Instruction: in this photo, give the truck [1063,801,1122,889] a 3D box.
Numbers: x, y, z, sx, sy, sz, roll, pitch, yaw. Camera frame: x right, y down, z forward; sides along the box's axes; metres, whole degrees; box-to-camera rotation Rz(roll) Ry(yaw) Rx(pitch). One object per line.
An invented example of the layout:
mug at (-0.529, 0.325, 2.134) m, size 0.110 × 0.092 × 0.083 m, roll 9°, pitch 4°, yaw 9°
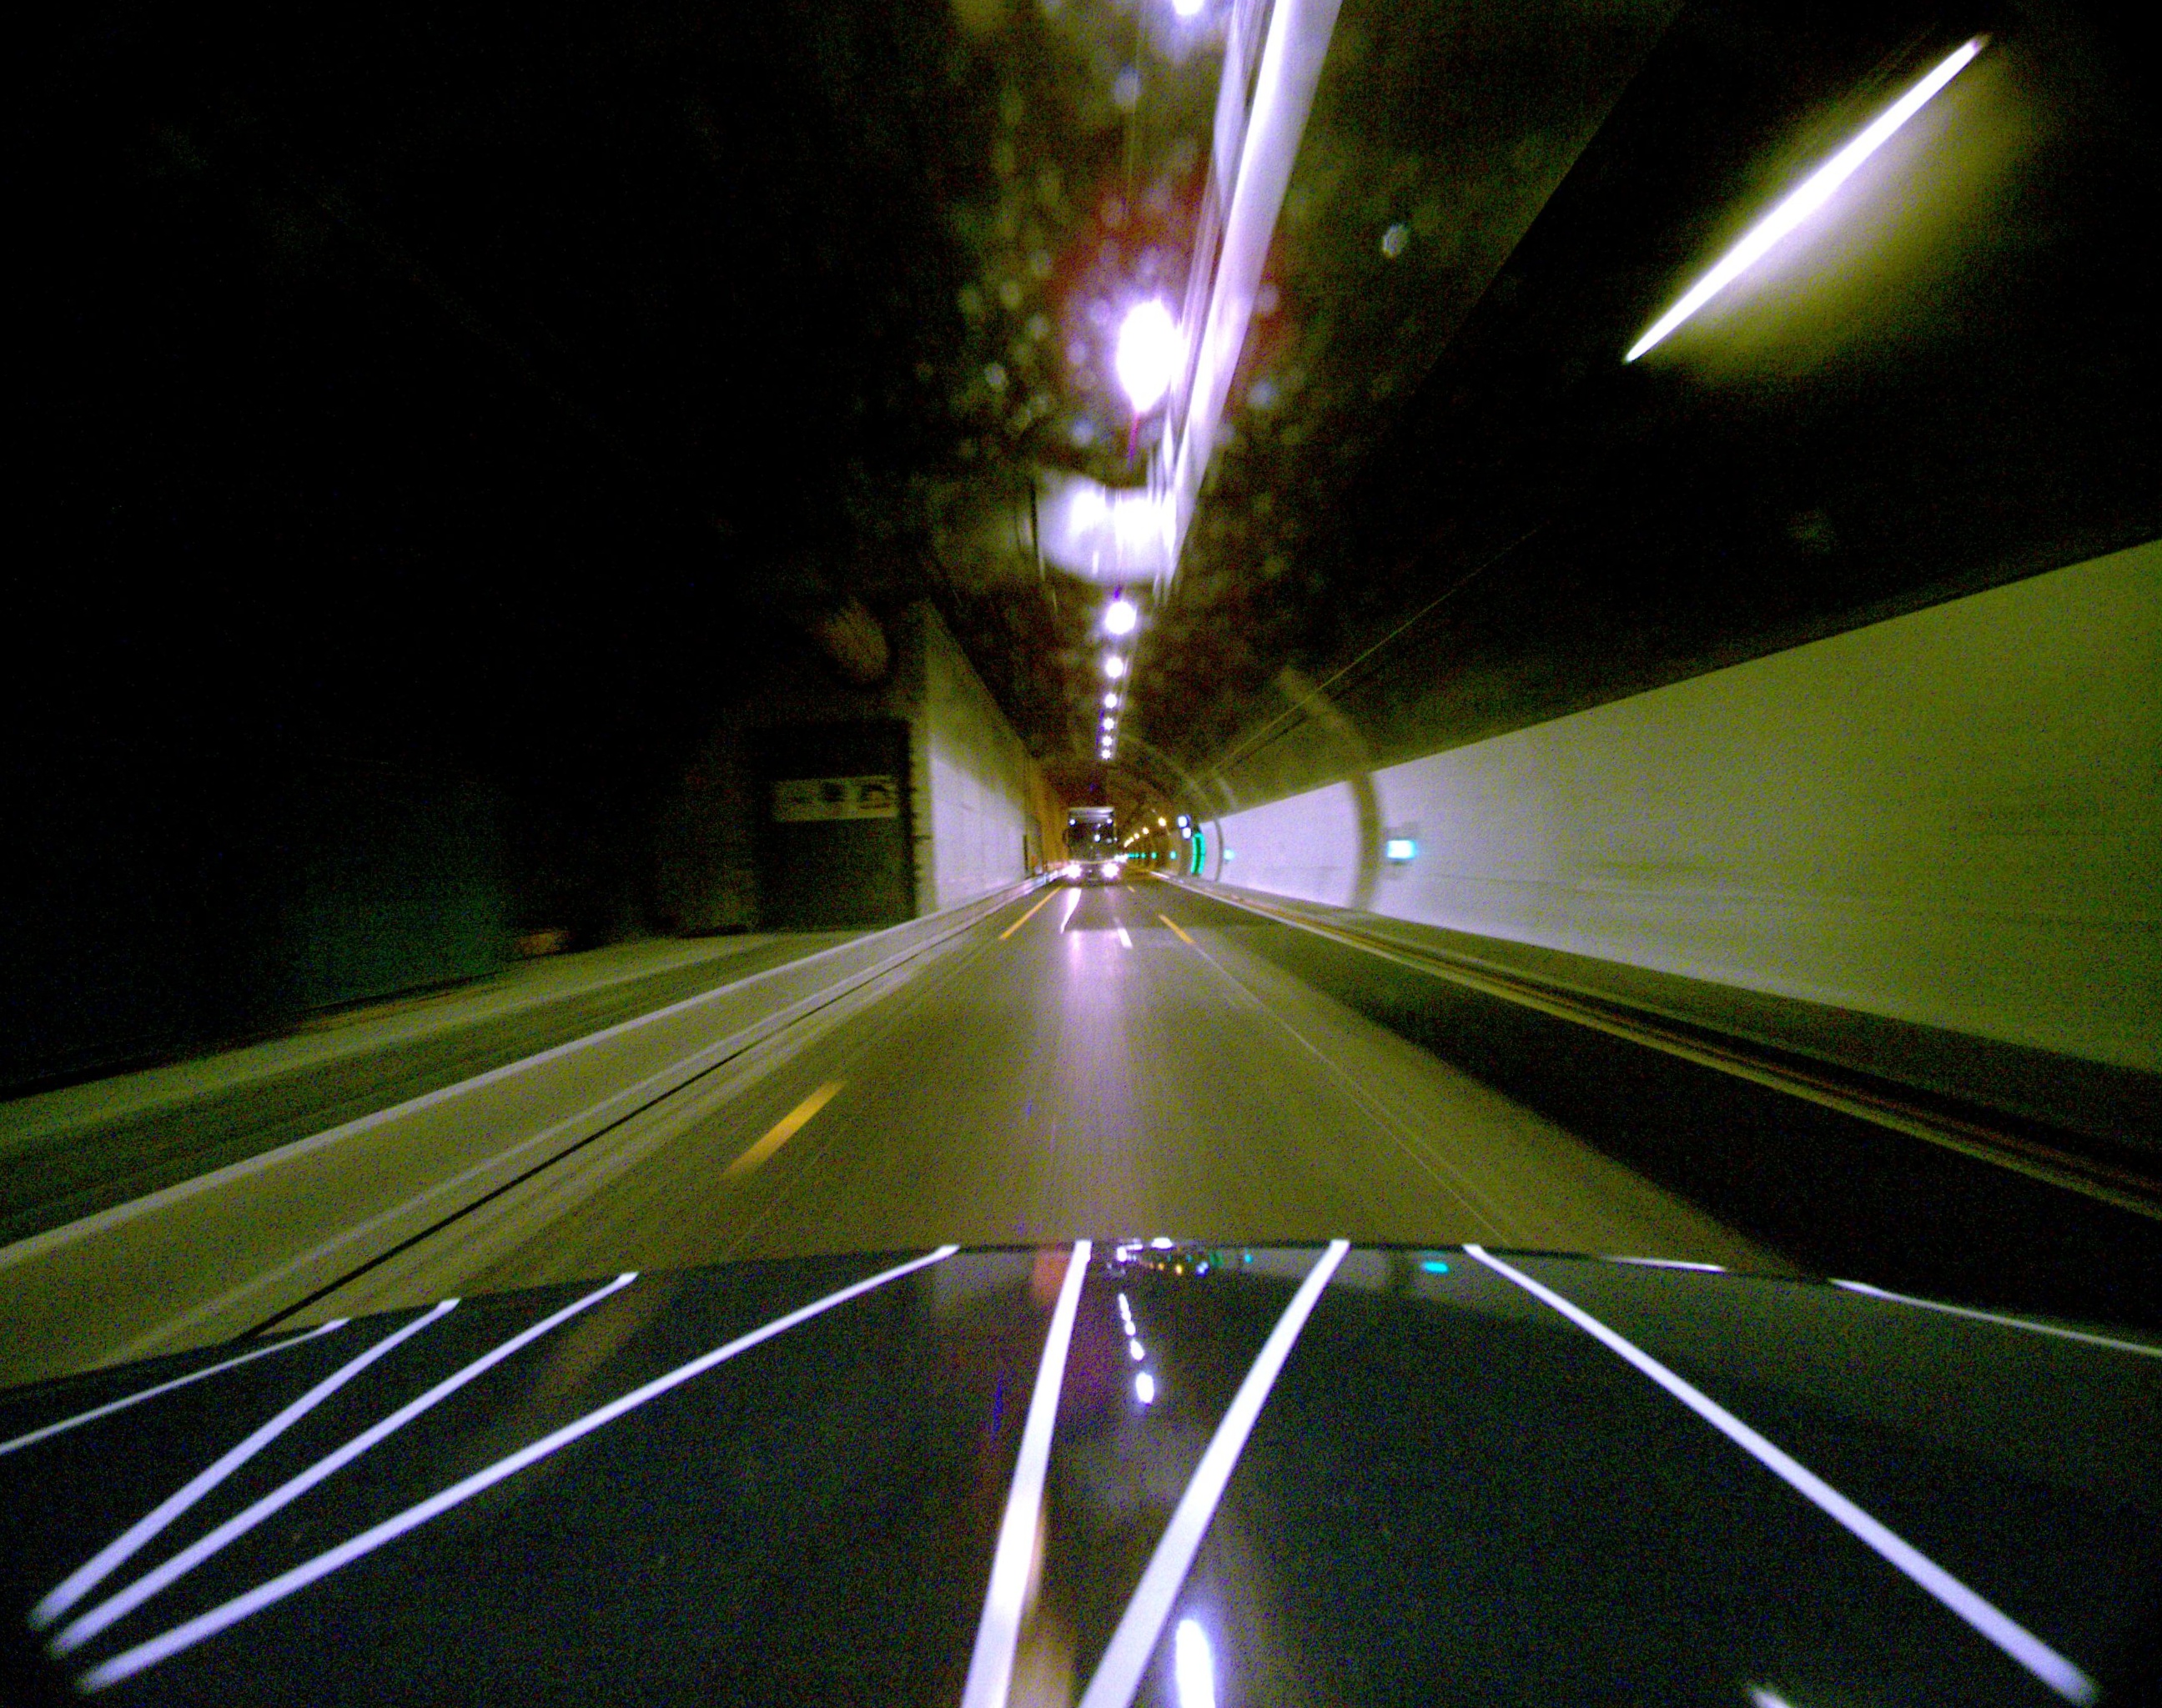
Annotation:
truck at (0.610, -0.447, 40.317) m, size 2.769 × 4.198 × 7.977 m, roll -1°, pitch 0°, yaw 1°
